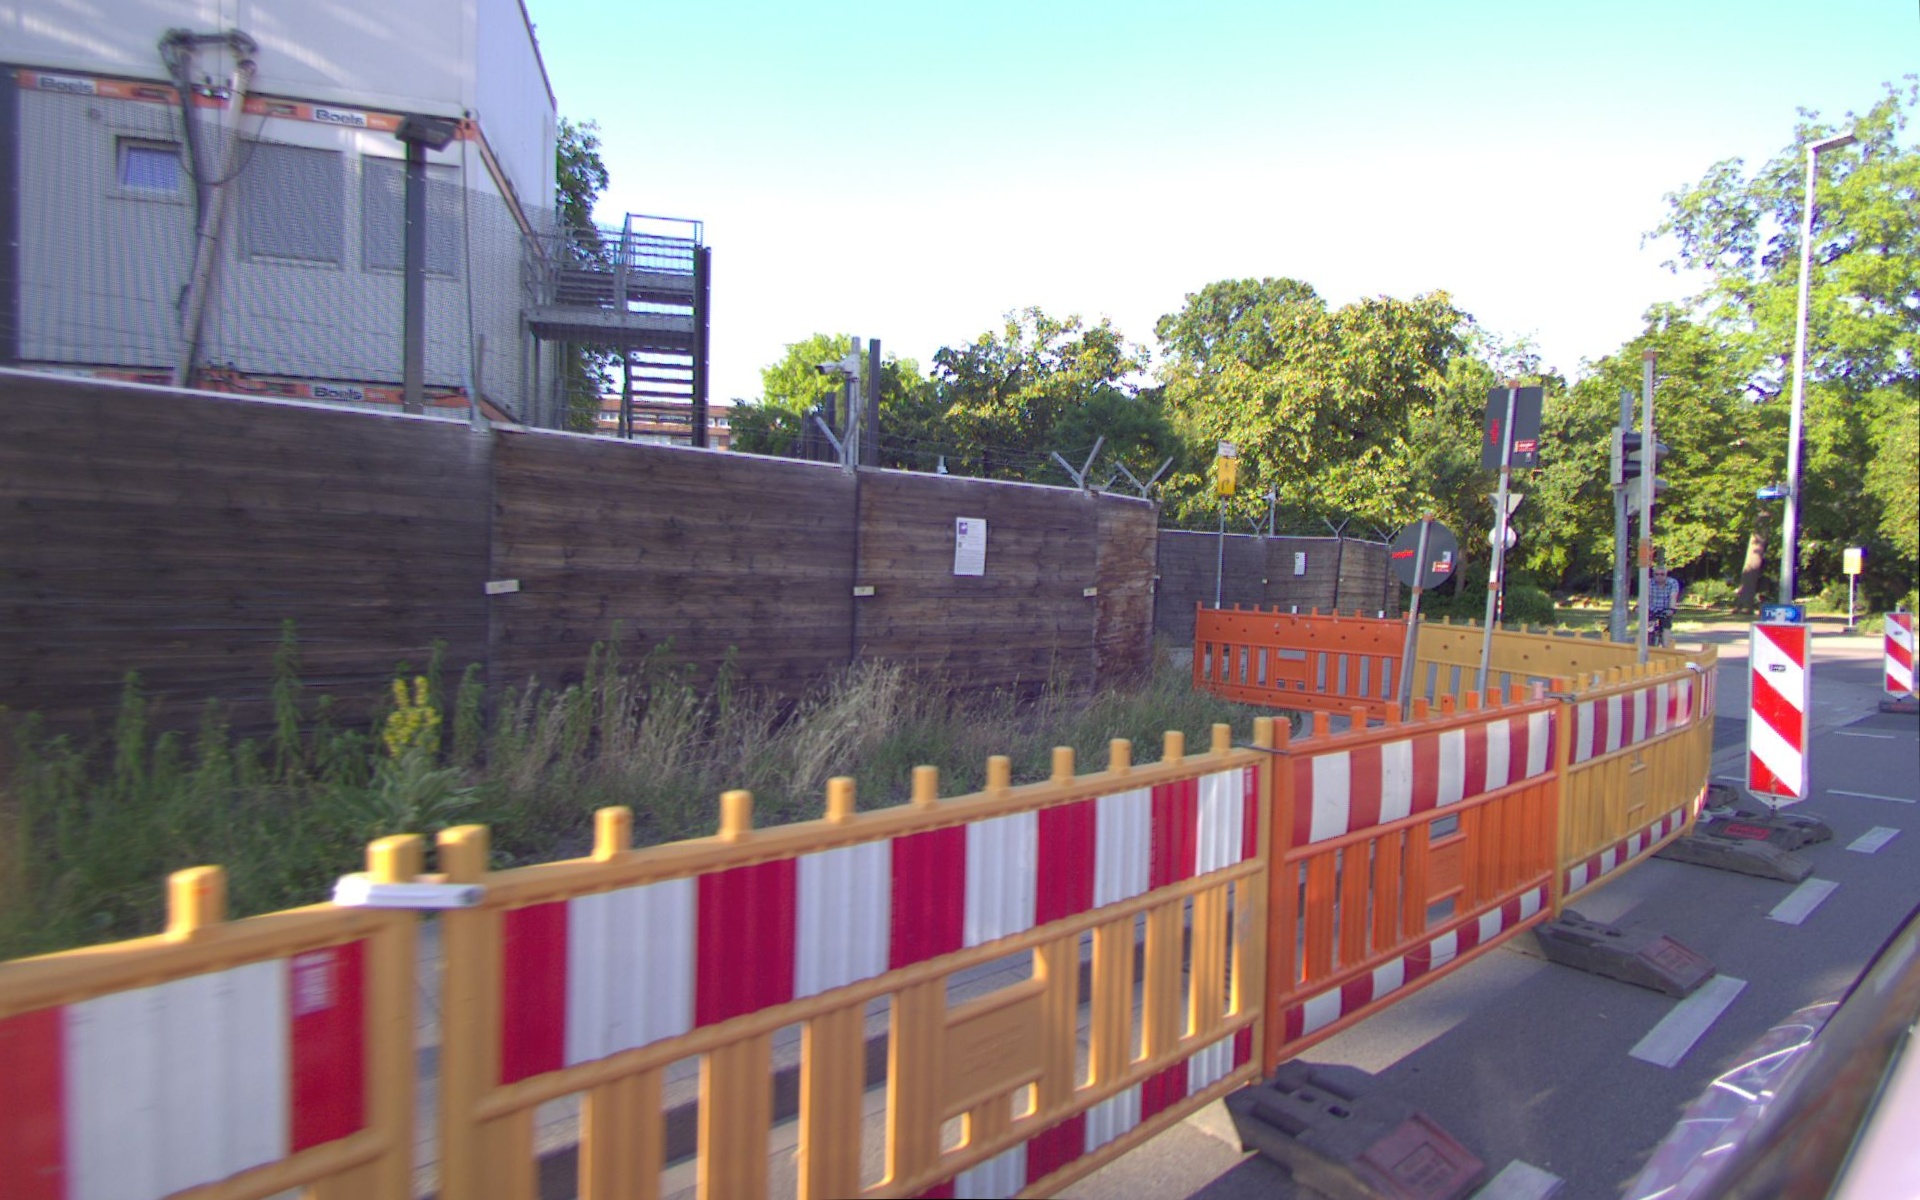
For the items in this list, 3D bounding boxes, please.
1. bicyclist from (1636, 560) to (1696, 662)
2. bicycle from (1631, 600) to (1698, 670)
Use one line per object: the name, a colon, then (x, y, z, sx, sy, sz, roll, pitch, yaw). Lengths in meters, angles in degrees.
bicyclist: (11.643, 0.157, 16.698, 0.887, 1.634, 0.585, -1, 2, -41)
bicycle: (11.780, 0.551, 16.901, 1.878, 1.074, 0.428, -1, 2, -41)
